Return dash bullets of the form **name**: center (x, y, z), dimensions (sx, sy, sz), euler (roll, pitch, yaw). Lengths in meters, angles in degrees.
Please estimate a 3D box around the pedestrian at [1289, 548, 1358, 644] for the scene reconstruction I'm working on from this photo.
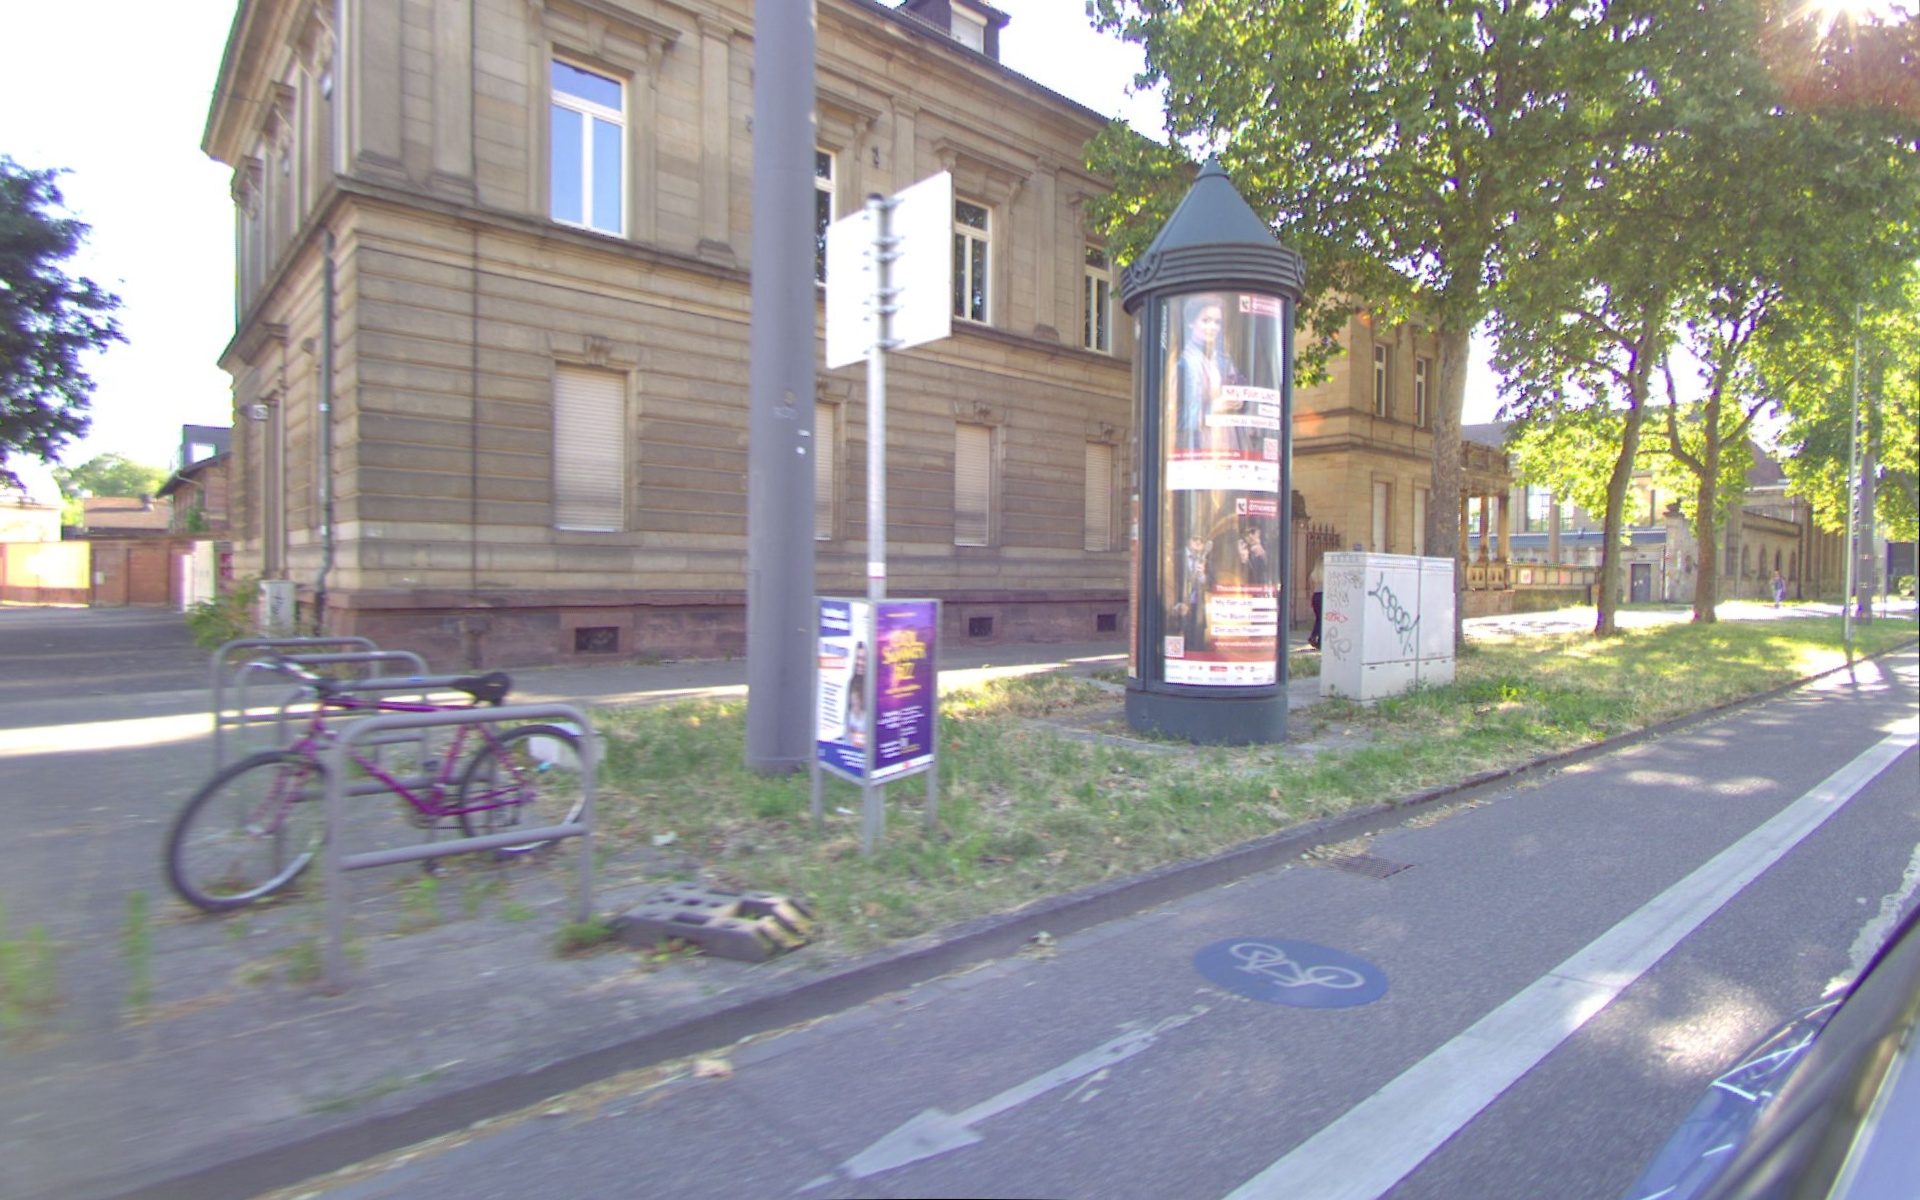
- **pedestrian**: center (6.759, -0.092, 18.814), dimensions (1.024, 1.730, 0.771), euler (-1, 2, -40)

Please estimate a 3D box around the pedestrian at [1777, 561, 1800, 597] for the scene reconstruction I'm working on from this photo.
- **pedestrian**: center (39.254, -1.007, 47.952), dimensions (0.859, 1.682, 0.672), euler (0, 2, -40)

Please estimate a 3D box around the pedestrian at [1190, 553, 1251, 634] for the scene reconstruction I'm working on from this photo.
- **pedestrian**: center (5.362, -0.148, 20.814), dimensions (0.969, 1.626, 0.771), euler (-1, 2, -40)

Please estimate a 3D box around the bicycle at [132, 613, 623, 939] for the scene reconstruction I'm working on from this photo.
- **bicycle**: center (-2.387, 0.623, 4.327), dimensions (0.540, 1.075, 1.743), euler (2, 2, 44)
